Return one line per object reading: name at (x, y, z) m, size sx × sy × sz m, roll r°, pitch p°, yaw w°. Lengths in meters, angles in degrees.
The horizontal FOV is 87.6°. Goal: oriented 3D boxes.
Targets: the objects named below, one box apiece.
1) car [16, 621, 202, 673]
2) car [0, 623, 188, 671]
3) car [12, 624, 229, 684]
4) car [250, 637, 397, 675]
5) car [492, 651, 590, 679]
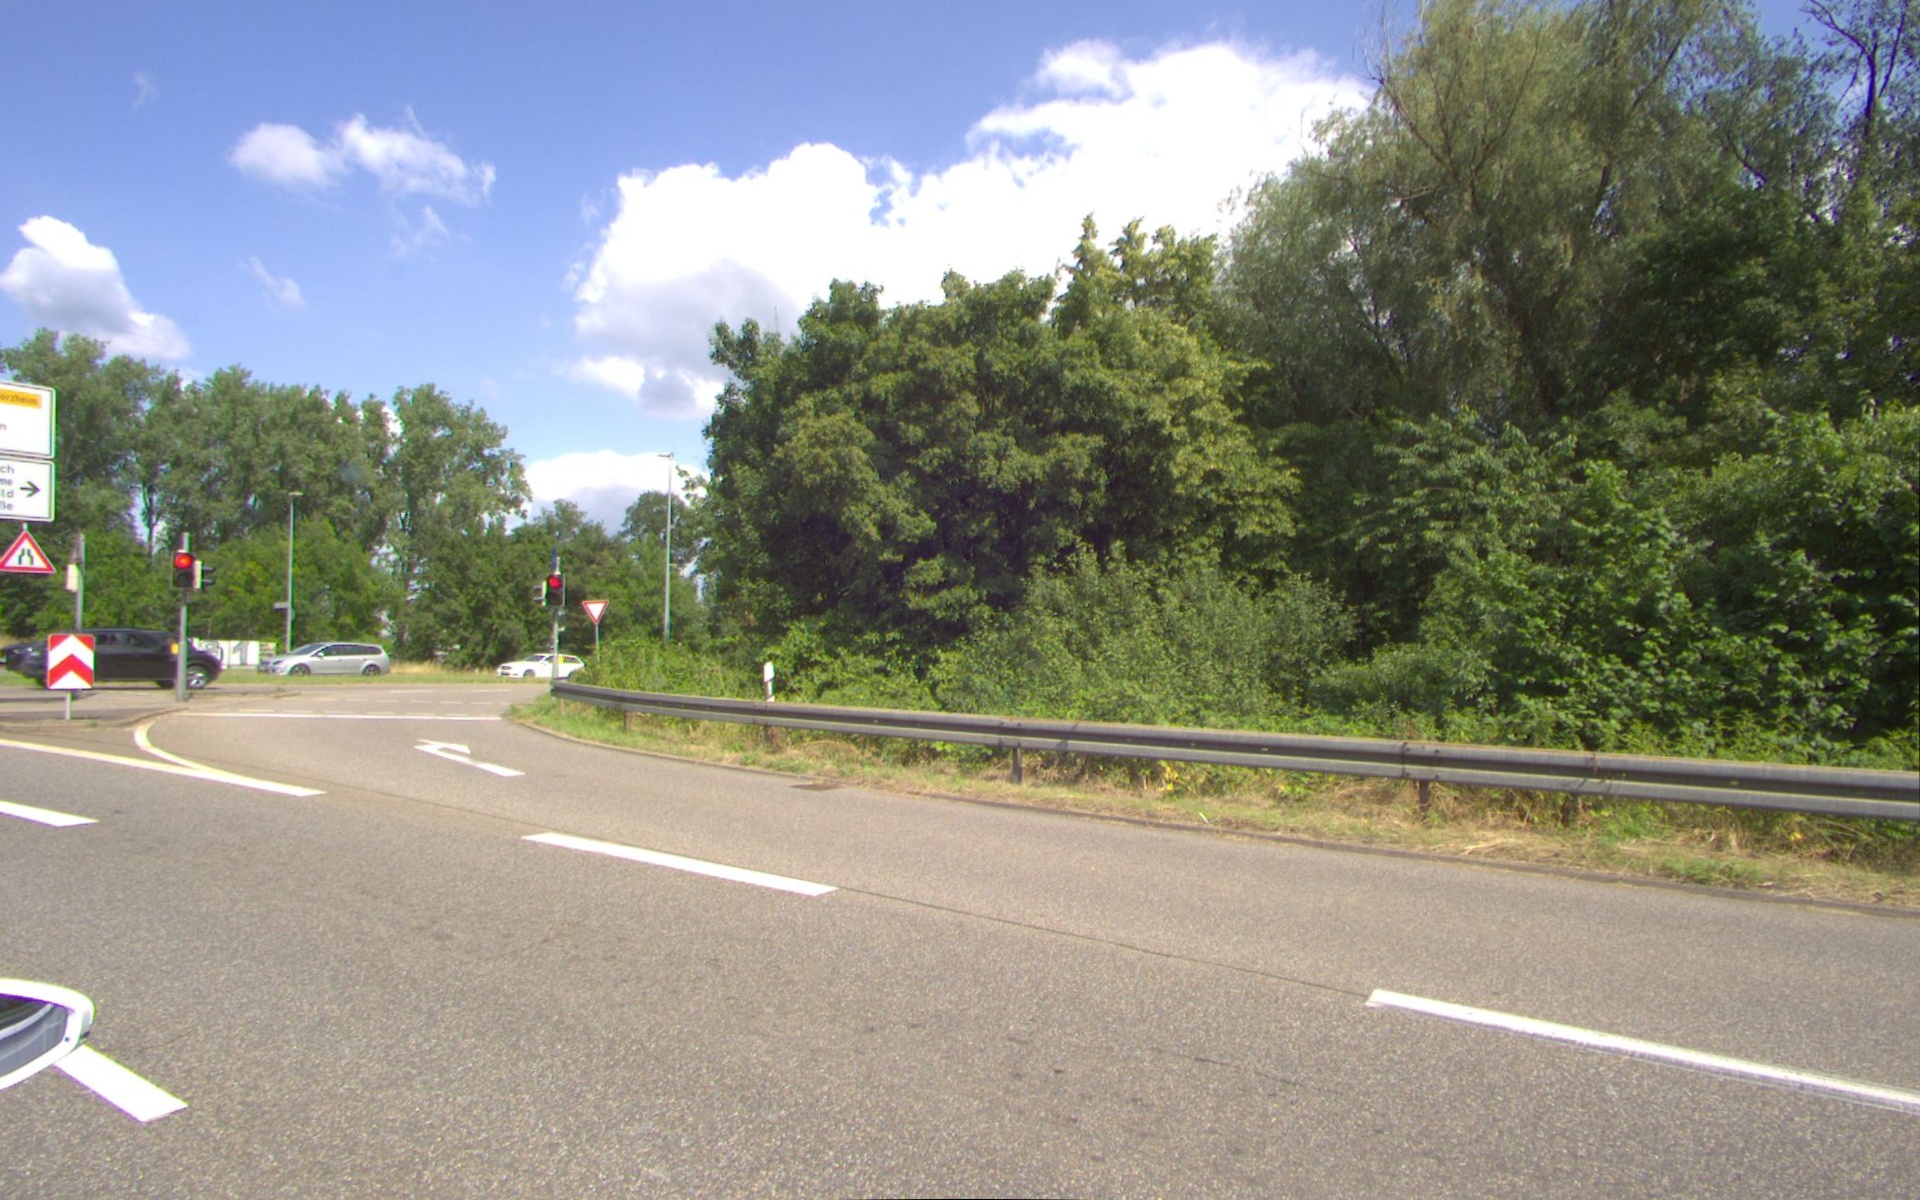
car at (-27.549, 1.533, 32.575) m, size 1.711 × 1.564 × 4.264 m, roll 0°, pitch -3°, yaw 31°
car at (-30.390, 1.665, 35.195) m, size 1.711 × 1.564 × 4.842 m, roll 0°, pitch -3°, yaw 31°
car at (-21.992, 1.420, 26.383) m, size 1.924 × 1.436 × 3.954 m, roll 0°, pitch -3°, yaw 30°
car at (-24.200, 2.124, 38.252) m, size 1.710 × 1.337 × 4.471 m, roll 0°, pitch -3°, yaw 29°
car at (-21.303, 3.279, 51.065) m, size 1.710 × 1.297 × 4.491 m, roll 0°, pitch -3°, yaw 29°
